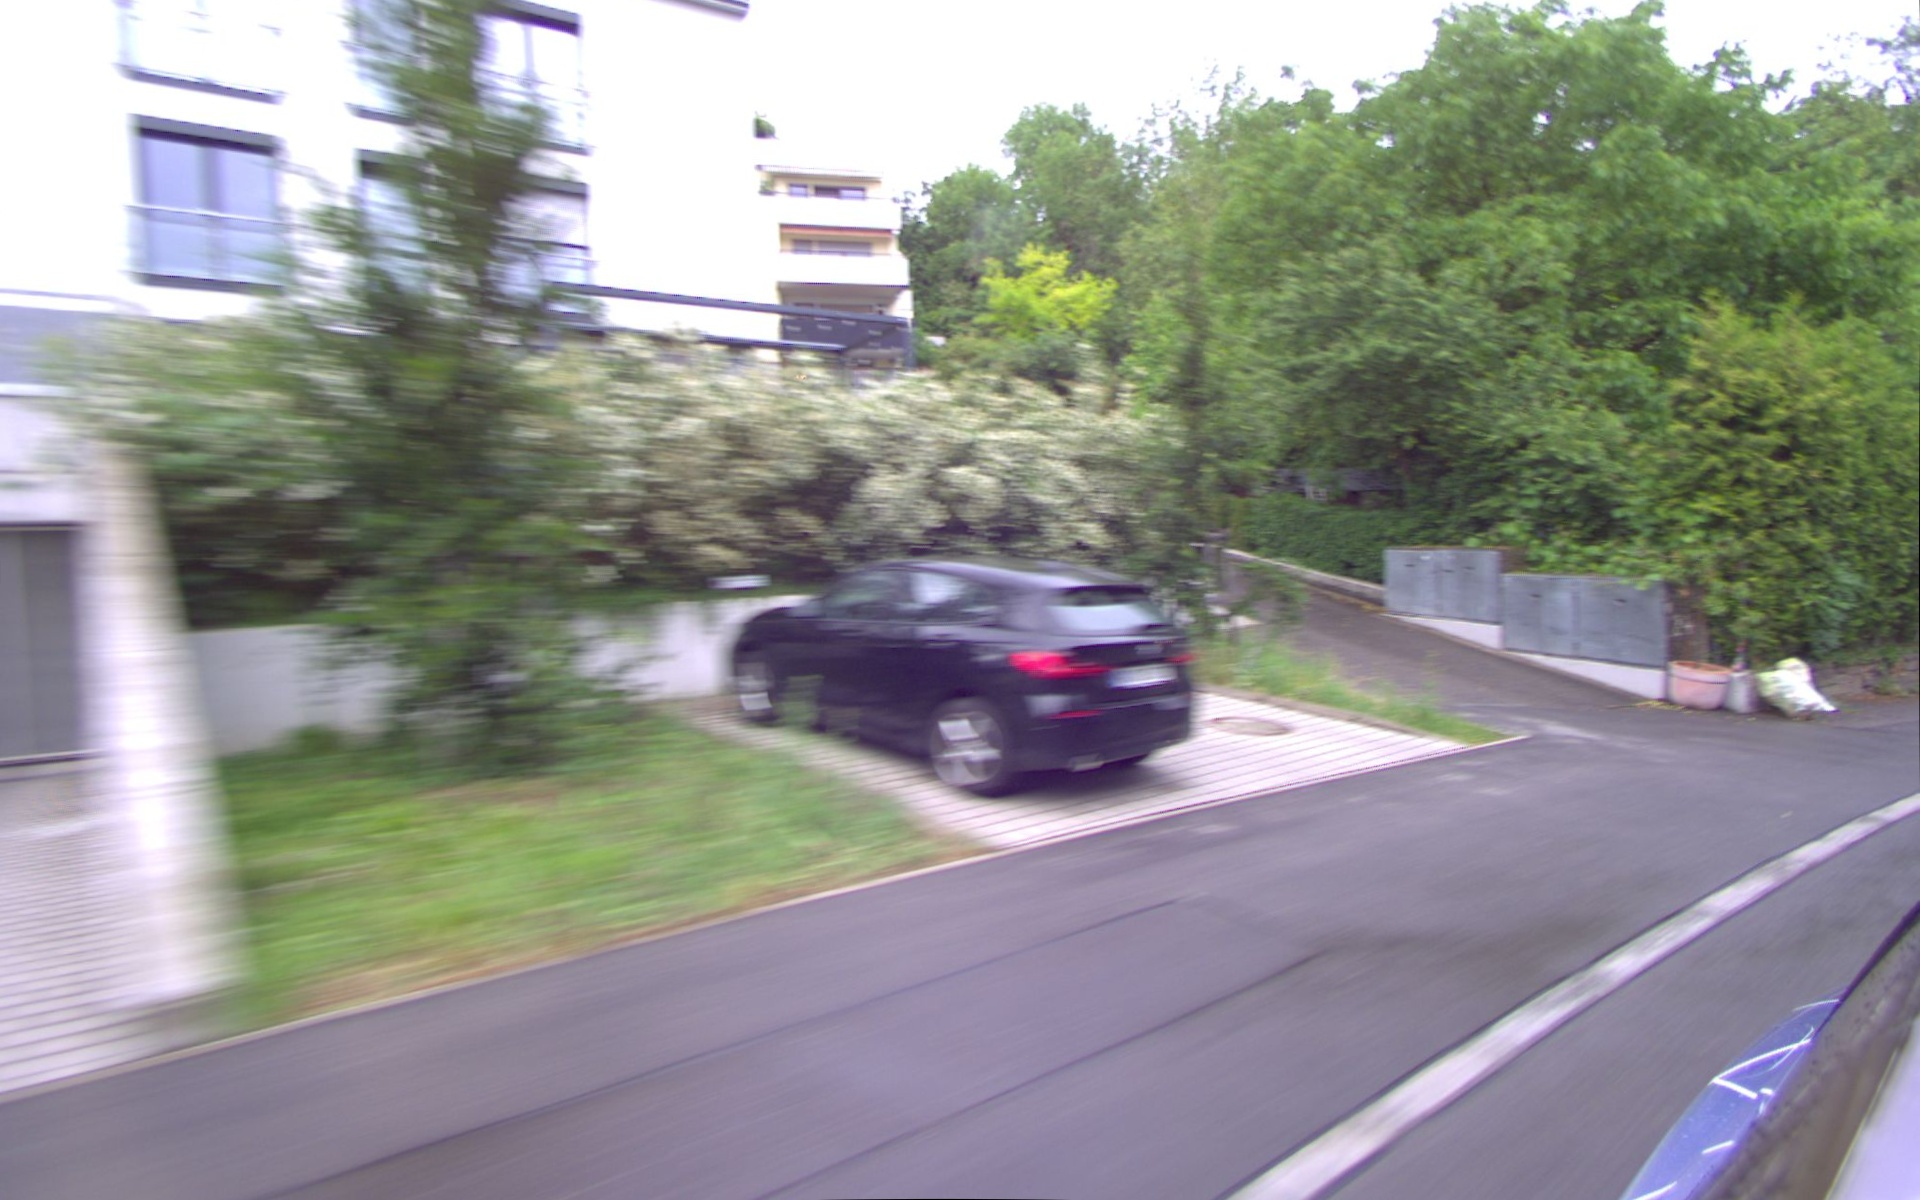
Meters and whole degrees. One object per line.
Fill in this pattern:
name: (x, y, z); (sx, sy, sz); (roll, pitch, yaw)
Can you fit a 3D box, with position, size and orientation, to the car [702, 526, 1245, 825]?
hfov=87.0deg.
car: (-0.169, 0.286, 7.668); (1.711, 1.525, 4.177); (-2, 6, -42)
